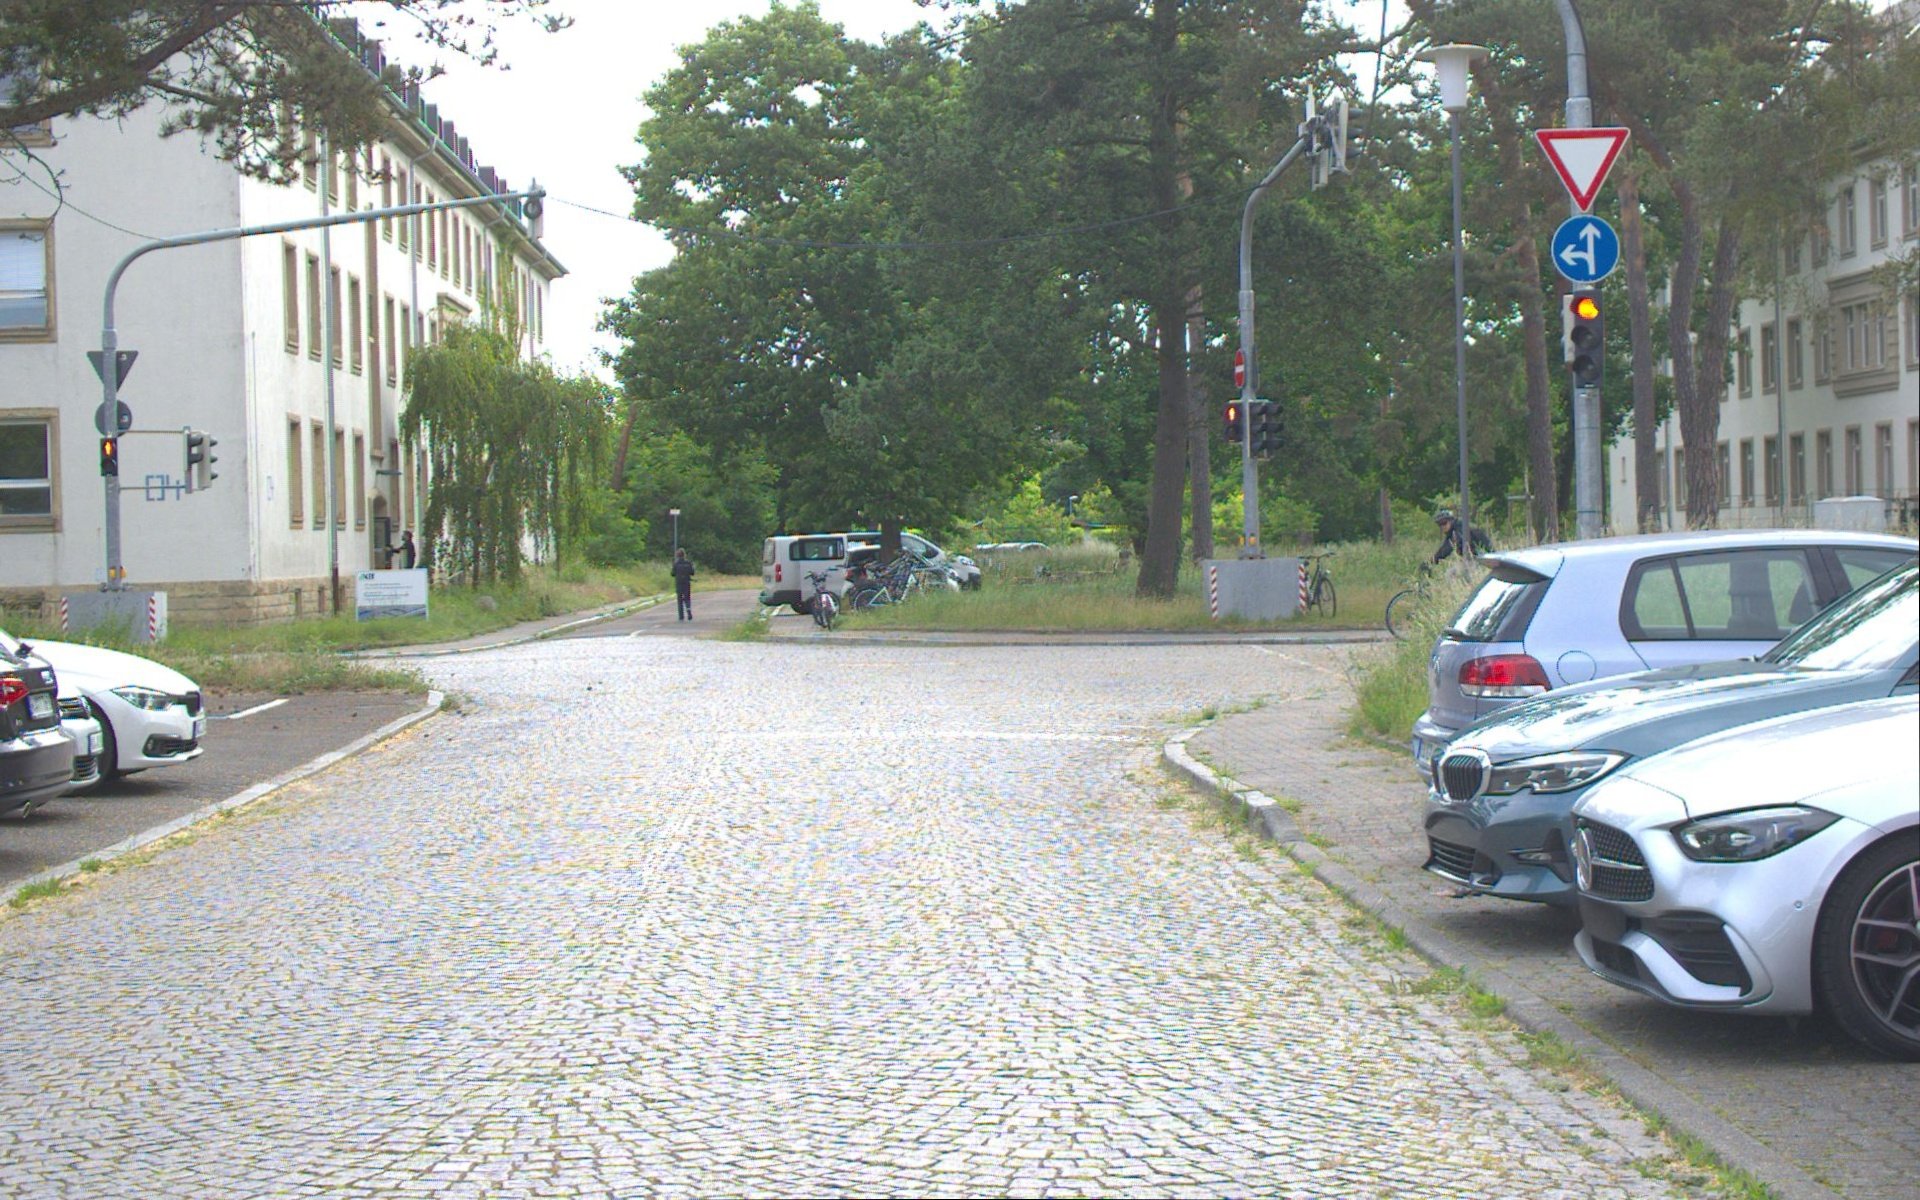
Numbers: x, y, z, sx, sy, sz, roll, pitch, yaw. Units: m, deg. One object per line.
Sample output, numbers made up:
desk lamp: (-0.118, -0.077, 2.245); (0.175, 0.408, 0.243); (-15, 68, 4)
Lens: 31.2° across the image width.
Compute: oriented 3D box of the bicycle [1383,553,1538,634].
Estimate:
bicycle: (6.669, -0.088, 45.859); (1.955, 1.020, 0.605); (-1, 1, -2)

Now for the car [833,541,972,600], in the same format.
car: (-1.337, -0.685, 79.224); (3.005, 1.264, 1.535); (-2, 1, -7)

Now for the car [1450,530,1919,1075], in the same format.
car: (3.969, 0.451, 10.657); (4.421, 1.411, 1.871); (-3, 1, -10)

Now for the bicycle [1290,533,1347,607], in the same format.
bicycle: (5.476, -0.470, 52.579); (0.586, 1.102, 1.962); (-1, 1, -2)

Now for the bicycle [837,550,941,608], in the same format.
bicycle: (-1.378, -0.408, 66.637); (1.955, 1.066, 0.588); (-2, 1, -31)

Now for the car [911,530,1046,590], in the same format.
car: (0.458, -1.023, 86.535); (3.231, 1.411, 1.725); (-2, 1, -4)

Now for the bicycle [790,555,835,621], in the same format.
bicycle: (-2.630, -0.228, 61.291); (0.603, 1.128, 1.962); (-1, 1, -7)

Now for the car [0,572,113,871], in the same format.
car: (-6.314, 0.548, 17.324); (3.745, 1.424, 1.583); (1, 1, -5)

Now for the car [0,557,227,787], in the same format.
car: (-6.969, 0.422, 22.629); (3.947, 1.416, 1.650); (1, 1, -2)

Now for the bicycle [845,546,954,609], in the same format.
bicycle: (-1.135, -0.421, 64.525); (1.954, 1.128, 0.588); (-1, 1, -8)

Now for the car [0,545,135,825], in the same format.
car: (-6.972, 0.435, 20.091); (3.947, 1.558, 1.650); (1, 1, -5)

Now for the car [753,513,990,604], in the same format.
car: (-2.143, -1.006, 82.585); (5.359, 1.918, 2.025); (-3, 1, -10)

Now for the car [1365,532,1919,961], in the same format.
car: (4.095, 0.438, 13.349); (4.680, 1.411, 1.871); (-3, 1, -4)

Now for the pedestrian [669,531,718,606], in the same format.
pedestrian: (-5.767, -0.681, 74.357); (0.738, 1.613, 0.776); (-2, 1, -32)

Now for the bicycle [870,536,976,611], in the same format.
bicycle: (-0.710, -0.514, 66.000); (1.954, 1.379, 0.588); (-1, 1, -8)

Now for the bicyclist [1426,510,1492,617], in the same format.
bicyclist: (6.658, -0.490, 45.850); (0.749, 1.405, 0.605); (-1, 1, -2)

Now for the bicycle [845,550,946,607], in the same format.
bicycle: (-1.272, -0.434, 67.990); (1.955, 1.066, 0.588); (-2, 1, -31)

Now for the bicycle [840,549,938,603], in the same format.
bicycle: (-1.481, -0.511, 71.672); (1.955, 1.066, 0.588); (-2, 1, -26)

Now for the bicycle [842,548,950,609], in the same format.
bicycle: (-1.220, -0.408, 65.156); (1.954, 1.113, 0.588); (-1, 1, -8)

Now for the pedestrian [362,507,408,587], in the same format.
pedestrian: (-13.369, -1.227, 79.939); (0.774, 1.831, 0.741); (-2, 1, -33)

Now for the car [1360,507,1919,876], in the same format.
car: (3.933, 0.347, 15.796); (3.927, 1.472, 1.642); (-3, 1, 0)

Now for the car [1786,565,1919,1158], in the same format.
car: (4.420, 0.535, 8.401); (4.261, 1.411, 1.871); (-3, 1, -2)
